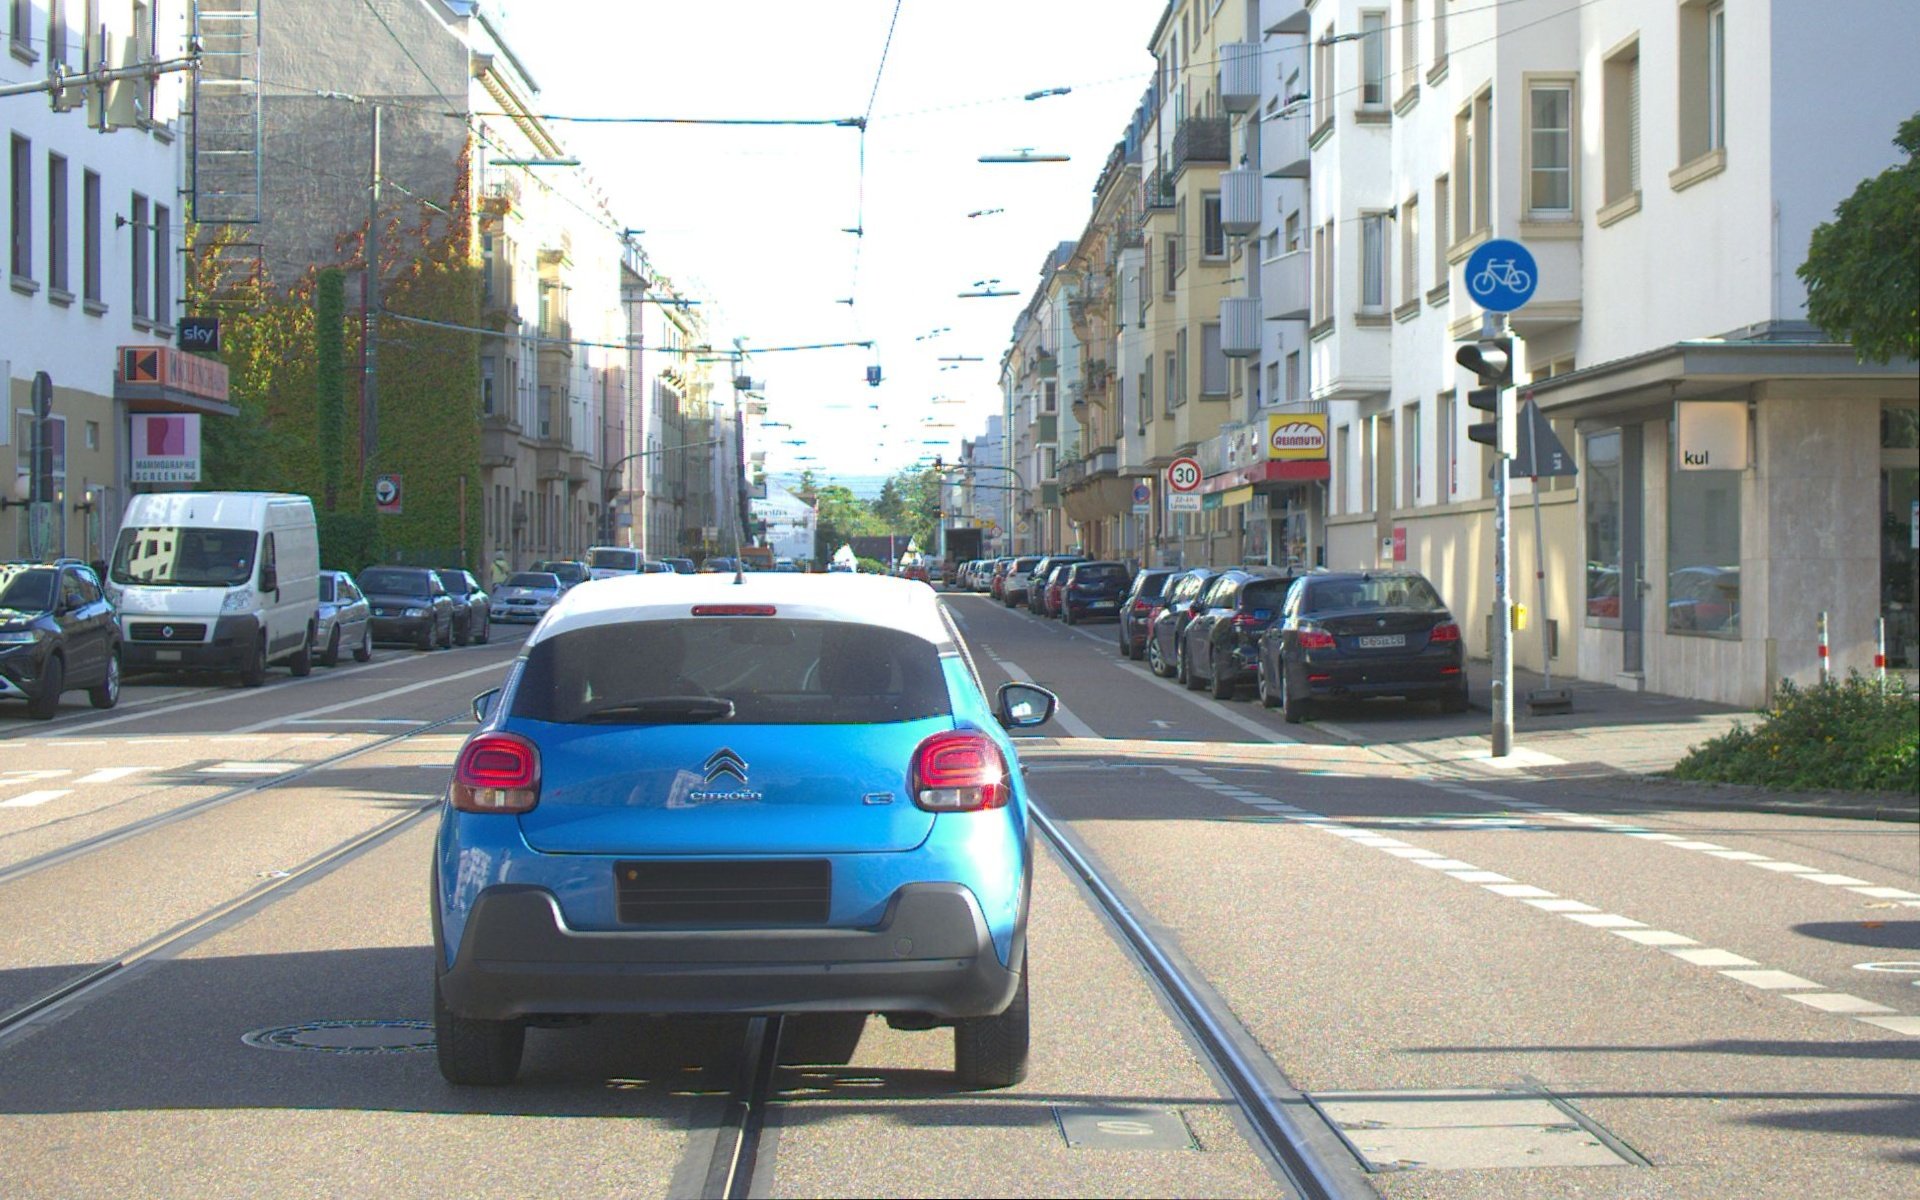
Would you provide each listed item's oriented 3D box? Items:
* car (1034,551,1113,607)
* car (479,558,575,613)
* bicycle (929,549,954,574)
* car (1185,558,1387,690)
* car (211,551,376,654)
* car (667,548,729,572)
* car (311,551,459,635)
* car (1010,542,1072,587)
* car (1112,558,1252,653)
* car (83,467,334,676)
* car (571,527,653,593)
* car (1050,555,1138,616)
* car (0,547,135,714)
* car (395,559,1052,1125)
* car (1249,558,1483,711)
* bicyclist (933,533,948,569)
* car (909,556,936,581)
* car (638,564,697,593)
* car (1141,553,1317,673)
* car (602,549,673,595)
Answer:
[{"bbox_3d":[3.025,-0.577,92.341,1.993,1.459,4.000,0,1,0],"label":"car"},{"bbox_3d":[-10.782,-0.369,85.765,1.993,1.320,3.923,1,0,-2],"label":"car"},{"bbox_3d":[-1.018,-2.180,192.624,0.920,1.384,3.131,0,1,9],"label":"bicycle"},{"bbox_3d":[3.758,0.243,40.241,1.993,1.459,4.000,0,1,0],"label":"car"},{"bbox_3d":[-10.065,0.025,52.142,1.888,1.491,3.562,1,0,-2],"label":"car"},{"bbox_3d":[-12.735,-1.933,167.321,1.994,1.152,4.513,0,1,9],"label":"car"},{"bbox_3d":[-10.072,-0.134,60.481,1.993,1.393,4.157,1,0,-2],"label":"car"},{"bbox_3d":[2.719,-1.204,115.851,1.993,1.459,4.000,0,1,0],"label":"car"},{"bbox_3d":[3.517,0.061,55.203,1.993,1.459,4.000,0,1,0],"label":"car"},{"bbox_3d":[-9.778,-0.387,45.259,2.085,2.533,6.206,1,1,-2],"label":"car"},{"bbox_3d":[-11.026,-1.250,109.263,2.006,2.007,4.689,1,0,1],"label":"car"},{"bbox_3d":[3.276,-0.373,84.539,1.993,1.459,4.504,0,1,0],"label":"car"},{"bbox_3d":[-9.878,0.243,34.904,1.993,1.563,4.403,3,0,-2],"label":"car"},{"bbox_3d":[-0.654,0.623,11.061,1.728,1.477,3.827,1,1,-1],"label":"car"},{"bbox_3d":[4.053,0.307,34.891,1.909,1.459,4.000,0,1,0],"label":"car"},{"bbox_3d":[-1.092,-2.756,192.481,0.809,2.007,0.922,1,0,3],"label":"bicyclist"},{"bbox_3d":[-2.755,-2.334,253.702,1.993,1.766,4.000,0,1,-1],"label":"car"},{"bbox_3d":[-11.612,-0.864,136.627,1.993,1.152,4.000,0,1,0],"label":"car"},{"bbox_3d":[3.485,0.135,45.188,1.993,1.496,4.000,0,1,0],"label":"car"},{"bbox_3d":[-11.201,-0.959,119.595,1.955,1.547,3.938,1,0,2],"label":"car"}]
